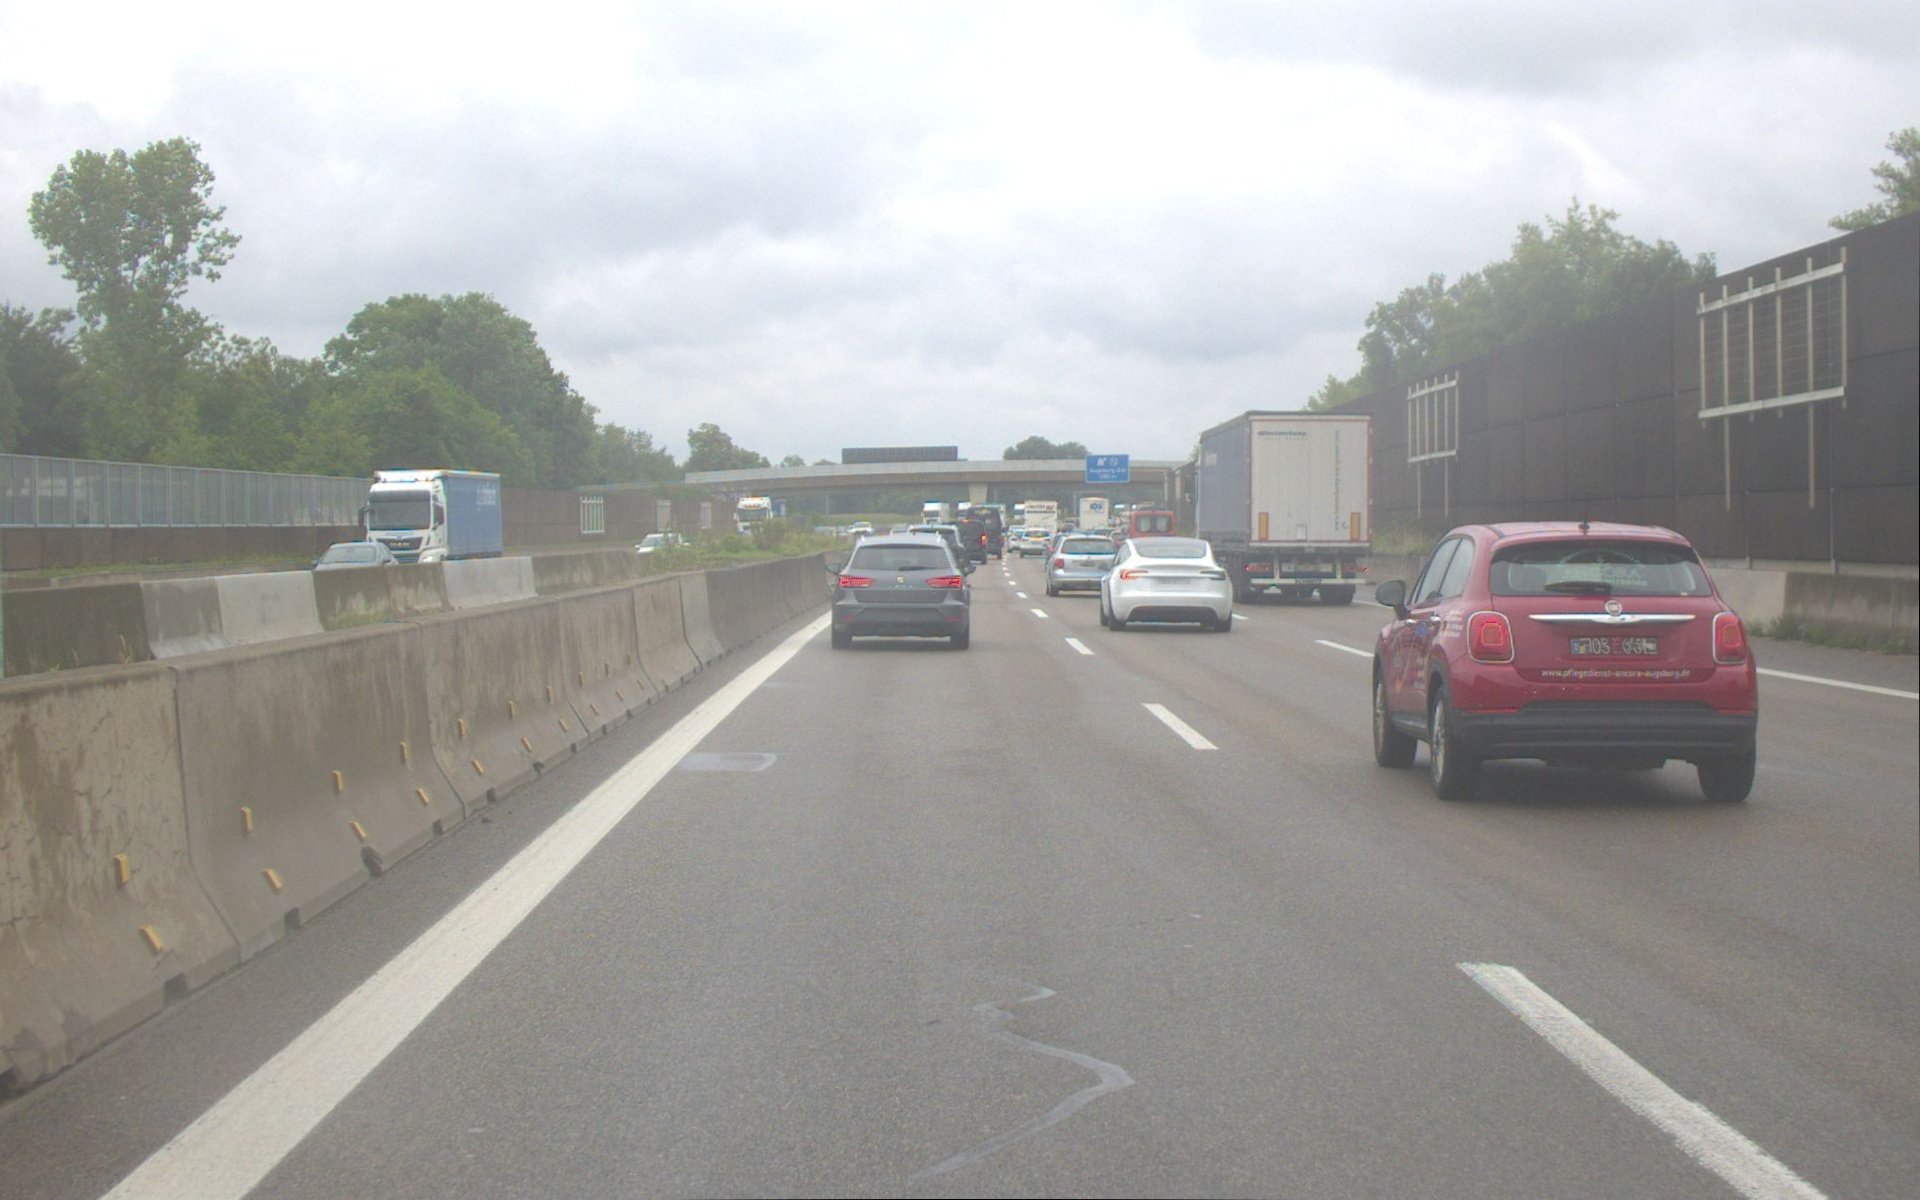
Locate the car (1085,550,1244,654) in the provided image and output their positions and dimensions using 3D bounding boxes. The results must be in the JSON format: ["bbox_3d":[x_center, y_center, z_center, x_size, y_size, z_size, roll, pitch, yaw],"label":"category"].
[{"bbox_3d":[3.086,0.000,52.611,1.993,1.481,4.001,0,1,-3],"label":"car"}]

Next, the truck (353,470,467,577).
[{"bbox_3d":[-19.776,-2.732,123.992,2.993,3.679,6.882,1,1,-1],"label":"truck"}]

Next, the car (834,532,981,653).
[{"bbox_3d":[-0.703,-0.135,43.842,1.763,1.448,4.001,1,1,-2],"label":"car"}]

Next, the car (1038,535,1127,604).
[{"bbox_3d":[2.823,-0.719,79.941,1.702,1.538,3.839,0,1,-4],"label":"car"}]

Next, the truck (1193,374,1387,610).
[{"bbox_3d":[6.941,-2.250,73.473,3.044,4.718,7.681,1,1,-2],"label":"truck"}]

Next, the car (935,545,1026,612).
[{"bbox_3d":[0.483,-0.561,85.853,1.993,1.579,4.001,-1,1,-3],"label":"car"}]

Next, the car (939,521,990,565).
[{"bbox_3d":[0.172,-2.449,146.485,1.993,1.809,4.001,1,1,-2],"label":"car"}]

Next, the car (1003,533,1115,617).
[{"bbox_3d":[1.851,-0.505,65.182,1.993,1.514,4.000,1,1,0],"label":"car"}]

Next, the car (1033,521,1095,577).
[{"bbox_3d":[3.849,-1.894,127.940,1.993,2.007,4.001,1,1,-2],"label":"car"}]

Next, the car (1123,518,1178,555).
[{"bbox_3d":[7.982,-2.687,144.261,1.993,1.514,4.000,0,1,-1],"label":"car"}]

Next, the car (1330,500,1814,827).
[{"bbox_3d":[3.539,0.286,20.642,1.957,1.641,4.001,-2,3,-3],"label":"car"}]

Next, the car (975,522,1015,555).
[{"bbox_3d":[1.767,-3.121,173.501,1.993,1.618,4.000,1,1,0],"label":"car"}]

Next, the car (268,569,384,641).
[{"bbox_3d":[-16.136,0.148,87.701,2.218,1.620,4.639,1,-3,-2],"label":"car"}]

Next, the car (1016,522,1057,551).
[{"bbox_3d":[4.085,-3.420,184.145,1.993,1.514,4.000,0,1,-1],"label":"car"}]
